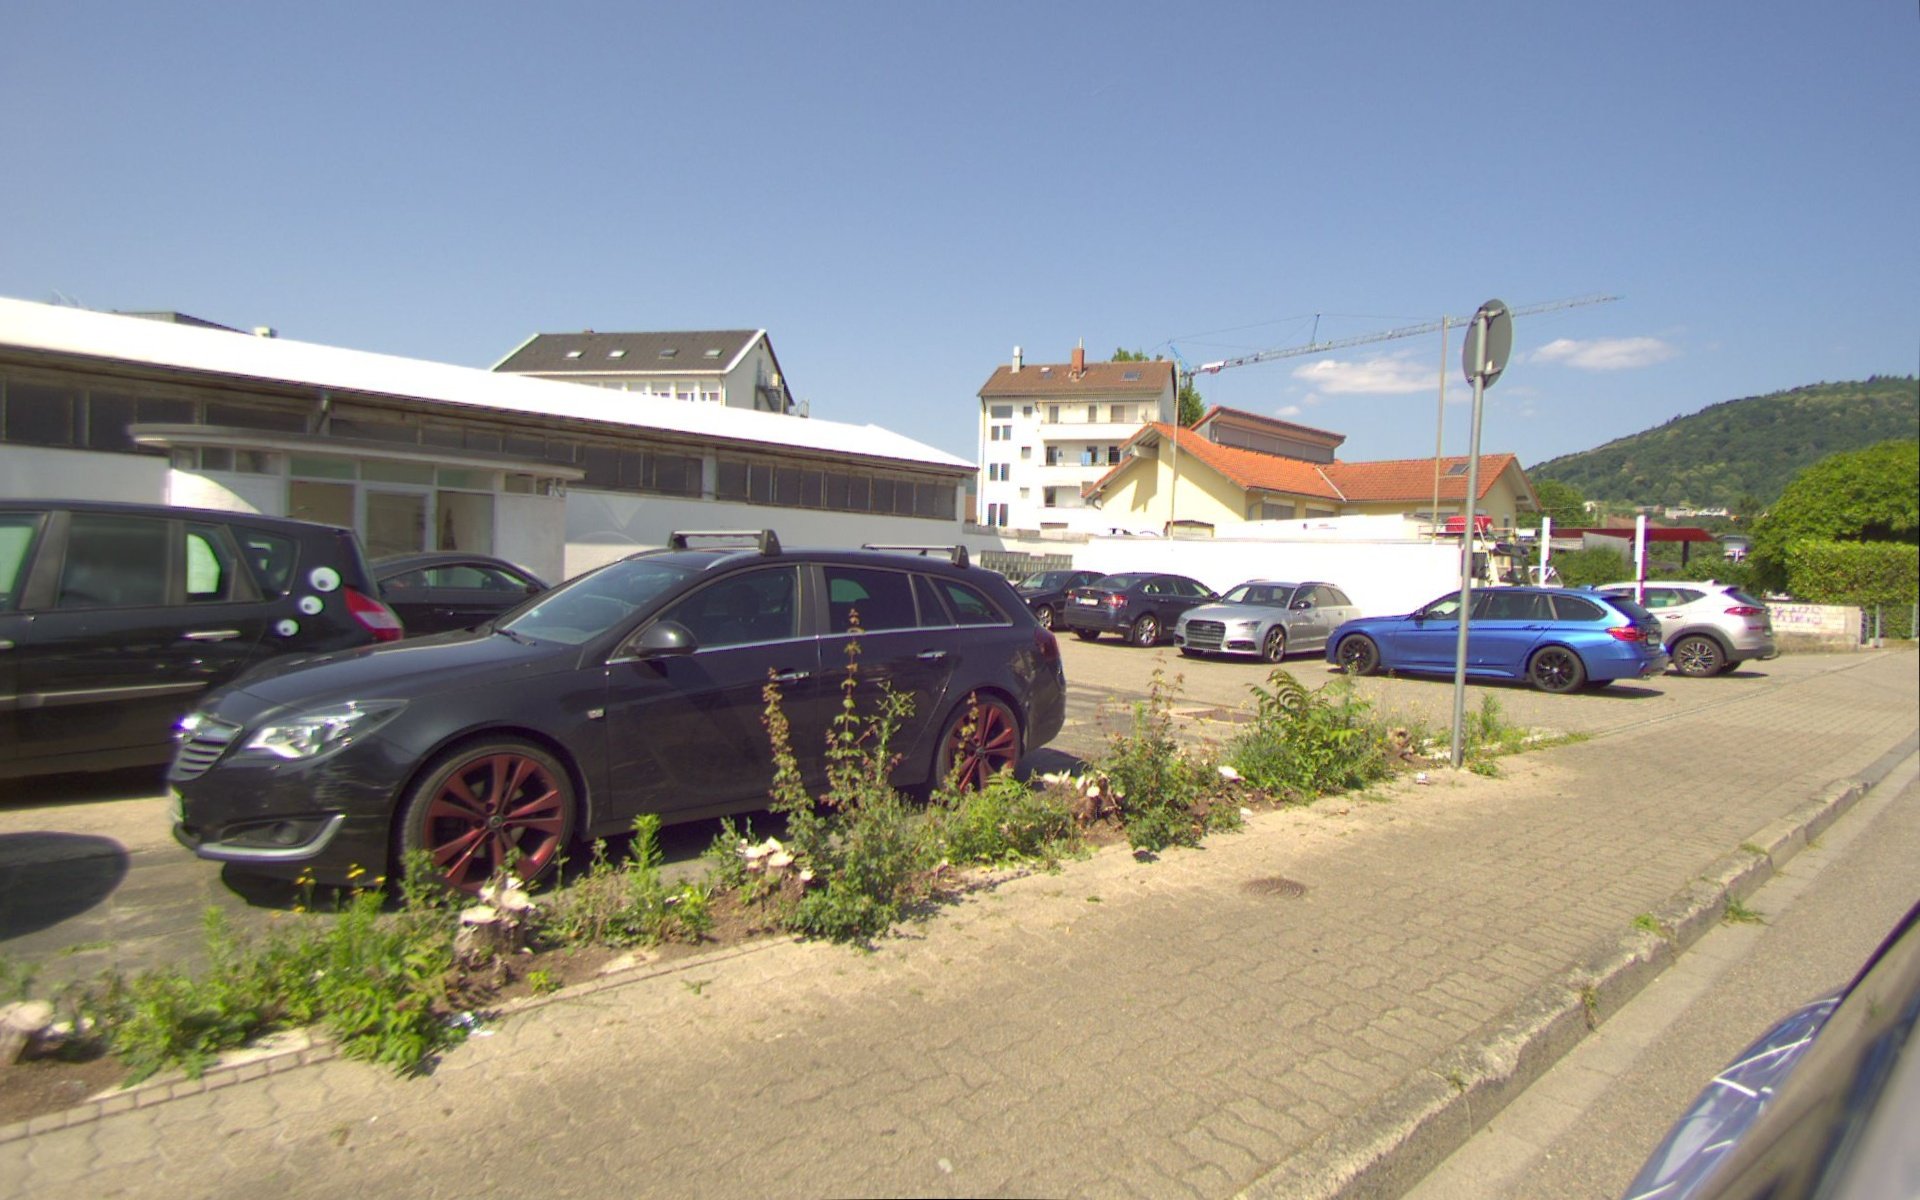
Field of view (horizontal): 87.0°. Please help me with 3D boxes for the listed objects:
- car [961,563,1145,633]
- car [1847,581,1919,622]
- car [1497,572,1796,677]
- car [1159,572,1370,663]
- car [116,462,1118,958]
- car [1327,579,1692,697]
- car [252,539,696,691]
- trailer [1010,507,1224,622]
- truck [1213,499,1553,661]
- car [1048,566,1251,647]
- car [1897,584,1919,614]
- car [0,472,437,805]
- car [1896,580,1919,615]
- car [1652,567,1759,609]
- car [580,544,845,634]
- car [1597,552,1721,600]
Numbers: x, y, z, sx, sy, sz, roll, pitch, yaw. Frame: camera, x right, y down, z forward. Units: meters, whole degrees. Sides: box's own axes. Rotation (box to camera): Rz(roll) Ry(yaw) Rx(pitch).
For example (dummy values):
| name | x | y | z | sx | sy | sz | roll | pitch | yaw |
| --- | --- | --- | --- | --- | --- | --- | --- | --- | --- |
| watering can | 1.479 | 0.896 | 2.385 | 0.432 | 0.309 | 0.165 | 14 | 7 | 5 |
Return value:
| name | x | y | z | sx | sy | sz | roll | pitch | yaw |
| --- | --- | --- | --- | --- | --- | --- | --- | --- | --- |
| car | 2.178 | -0.074 | 23.347 | 3.953 | 1.409 | 1.892 | 0 | 4 | -38 |
| car | 40.604 | 0.105 | 42.800 | 1.865 | 1.546 | 4.410 | -1 | 5 | -43 |
| car | 12.423 | 0.439 | 18.544 | 1.736 | 1.703 | 4.206 | -1 | -1 | -41 |
| car | 5.819 | 0.263 | 19.066 | 4.382 | 1.459 | 1.888 | 0 | 3 | -44 |
| car | -1.432 | 0.317 | 5.557 | 4.866 | 1.587 | 1.862 | 0 | 2 | -42 |
| car | 7.906 | 0.449 | 14.905 | 1.859 | 1.459 | 4.360 | 1 | 0 | -41 |
| car | -5.082 | 0.105 | 10.857 | 4.026 | 1.340 | 1.646 | 0 | 2 | -39 |
| trailer | 5.705 | -1.396 | 38.545 | 3.009 | 3.910 | 8.364 | 0 | 3 | -35 |
| truck | 10.219 | -0.399 | 25.292 | 2.482 | 3.467 | 7.531 | 0 | -1 | -40 |
| car | 4.020 | 0.105 | 21.166 | 4.110 | 1.459 | 1.892 | 0 | 4 | -38 |
| car | 44.855 | 0.011 | 45.697 | 1.532 | 1.351 | 3.555 | 0 | 2 | -42 |
| car | -5.102 | 0.195 | 5.689 | 3.554 | 1.615 | 1.763 | 1 | -1 | -40 |
| car | 46.886 | -0.058 | 47.751 | 1.729 | 1.644 | 3.809 | 0 | 2 | -42 |
| car | 43.158 | -0.731 | 58.714 | 1.885 | 2.176 | 4.589 | 1 | 3 | -23 |
| car | -4.146 | -0.188 | 16.917 | 4.099 | 1.340 | 1.719 | 1 | 2 | -20 |
| car | 43.256 | -1.543 | 62.828 | 5.961 | 2.711 | 2.239 | 3 | 3 | 27 |
